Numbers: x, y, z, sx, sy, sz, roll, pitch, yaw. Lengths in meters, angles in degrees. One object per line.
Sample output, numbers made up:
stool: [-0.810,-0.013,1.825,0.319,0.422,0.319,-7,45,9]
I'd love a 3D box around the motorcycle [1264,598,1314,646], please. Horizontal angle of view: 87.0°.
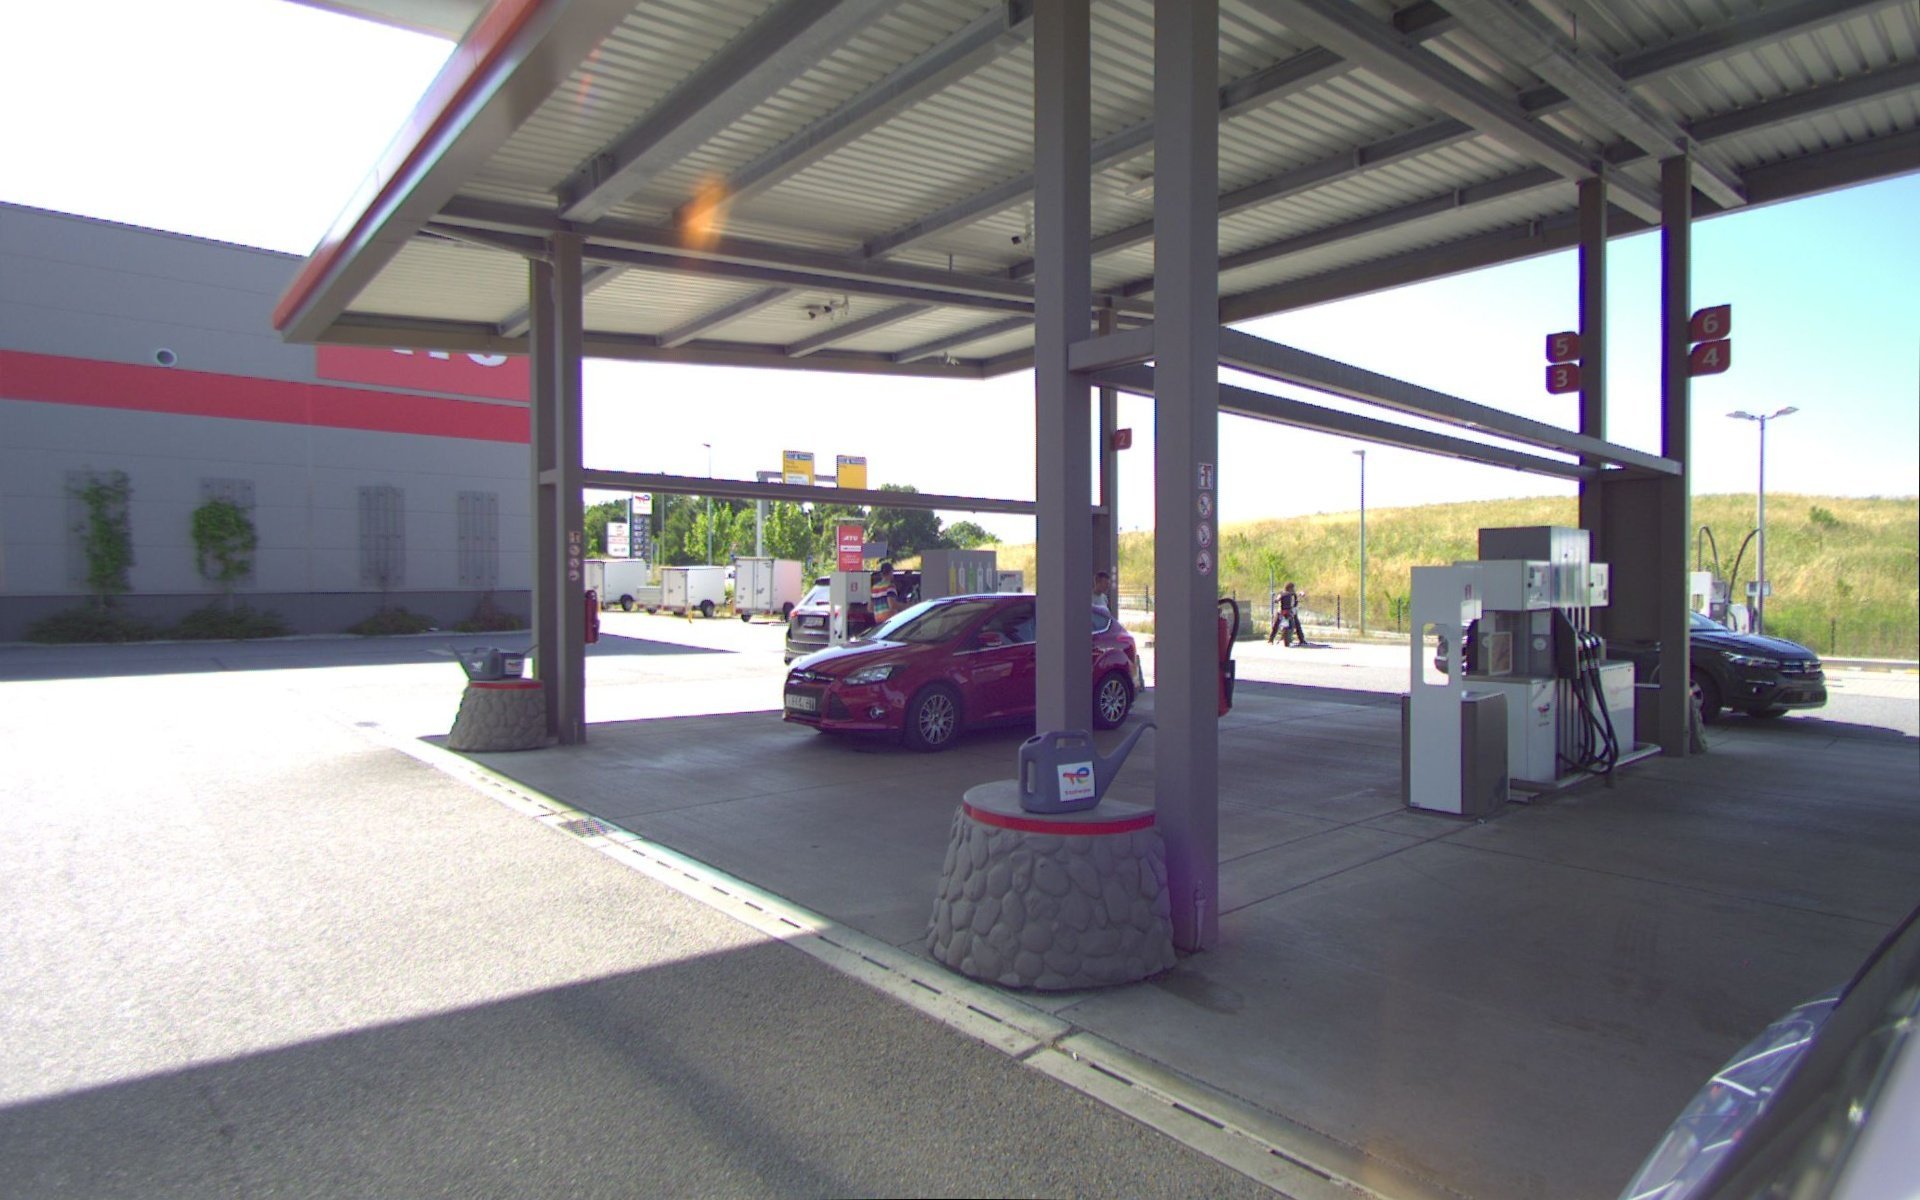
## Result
motorcycle: [8.616,0.535,26.424,1.034,1.119,2.397,1,2,23]

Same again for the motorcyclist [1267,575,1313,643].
motorcyclist: [8.611,0.213,26.385,1.023,1.709,1.090,1,1,24]

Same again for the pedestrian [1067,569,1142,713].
pedestrian: [1.777,0.486,12.576,0.689,1.724,0.929,0,0,-7]

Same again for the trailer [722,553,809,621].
trailer: [-7.428,-0.520,38.989,1.968,2.457,3.988,1,1,11]

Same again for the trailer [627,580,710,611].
trailer: [-12.835,-0.204,44.756,1.561,1.297,3.690,1,1,23]

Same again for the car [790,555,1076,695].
car: [-0.246,0.325,16.034,2.023,1.874,4.733,1,0,37]

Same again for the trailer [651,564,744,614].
trailer: [-11.113,-0.472,43.046,1.783,2.039,3.968,1,1,23]

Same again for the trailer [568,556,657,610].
trailer: [-16.682,-0.822,48.736,1.976,2.457,3.973,1,1,21]

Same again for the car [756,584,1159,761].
car: [0.125,0.593,10.577,4.160,1.487,1.701,0,1,-42]

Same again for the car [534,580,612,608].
car: [-18.842,-0.313,49.381,1.657,1.334,3.818,1,1,15]

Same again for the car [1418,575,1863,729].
car: [8.634,0.523,13.385,1.708,1.665,4.639,0,1,-27]
